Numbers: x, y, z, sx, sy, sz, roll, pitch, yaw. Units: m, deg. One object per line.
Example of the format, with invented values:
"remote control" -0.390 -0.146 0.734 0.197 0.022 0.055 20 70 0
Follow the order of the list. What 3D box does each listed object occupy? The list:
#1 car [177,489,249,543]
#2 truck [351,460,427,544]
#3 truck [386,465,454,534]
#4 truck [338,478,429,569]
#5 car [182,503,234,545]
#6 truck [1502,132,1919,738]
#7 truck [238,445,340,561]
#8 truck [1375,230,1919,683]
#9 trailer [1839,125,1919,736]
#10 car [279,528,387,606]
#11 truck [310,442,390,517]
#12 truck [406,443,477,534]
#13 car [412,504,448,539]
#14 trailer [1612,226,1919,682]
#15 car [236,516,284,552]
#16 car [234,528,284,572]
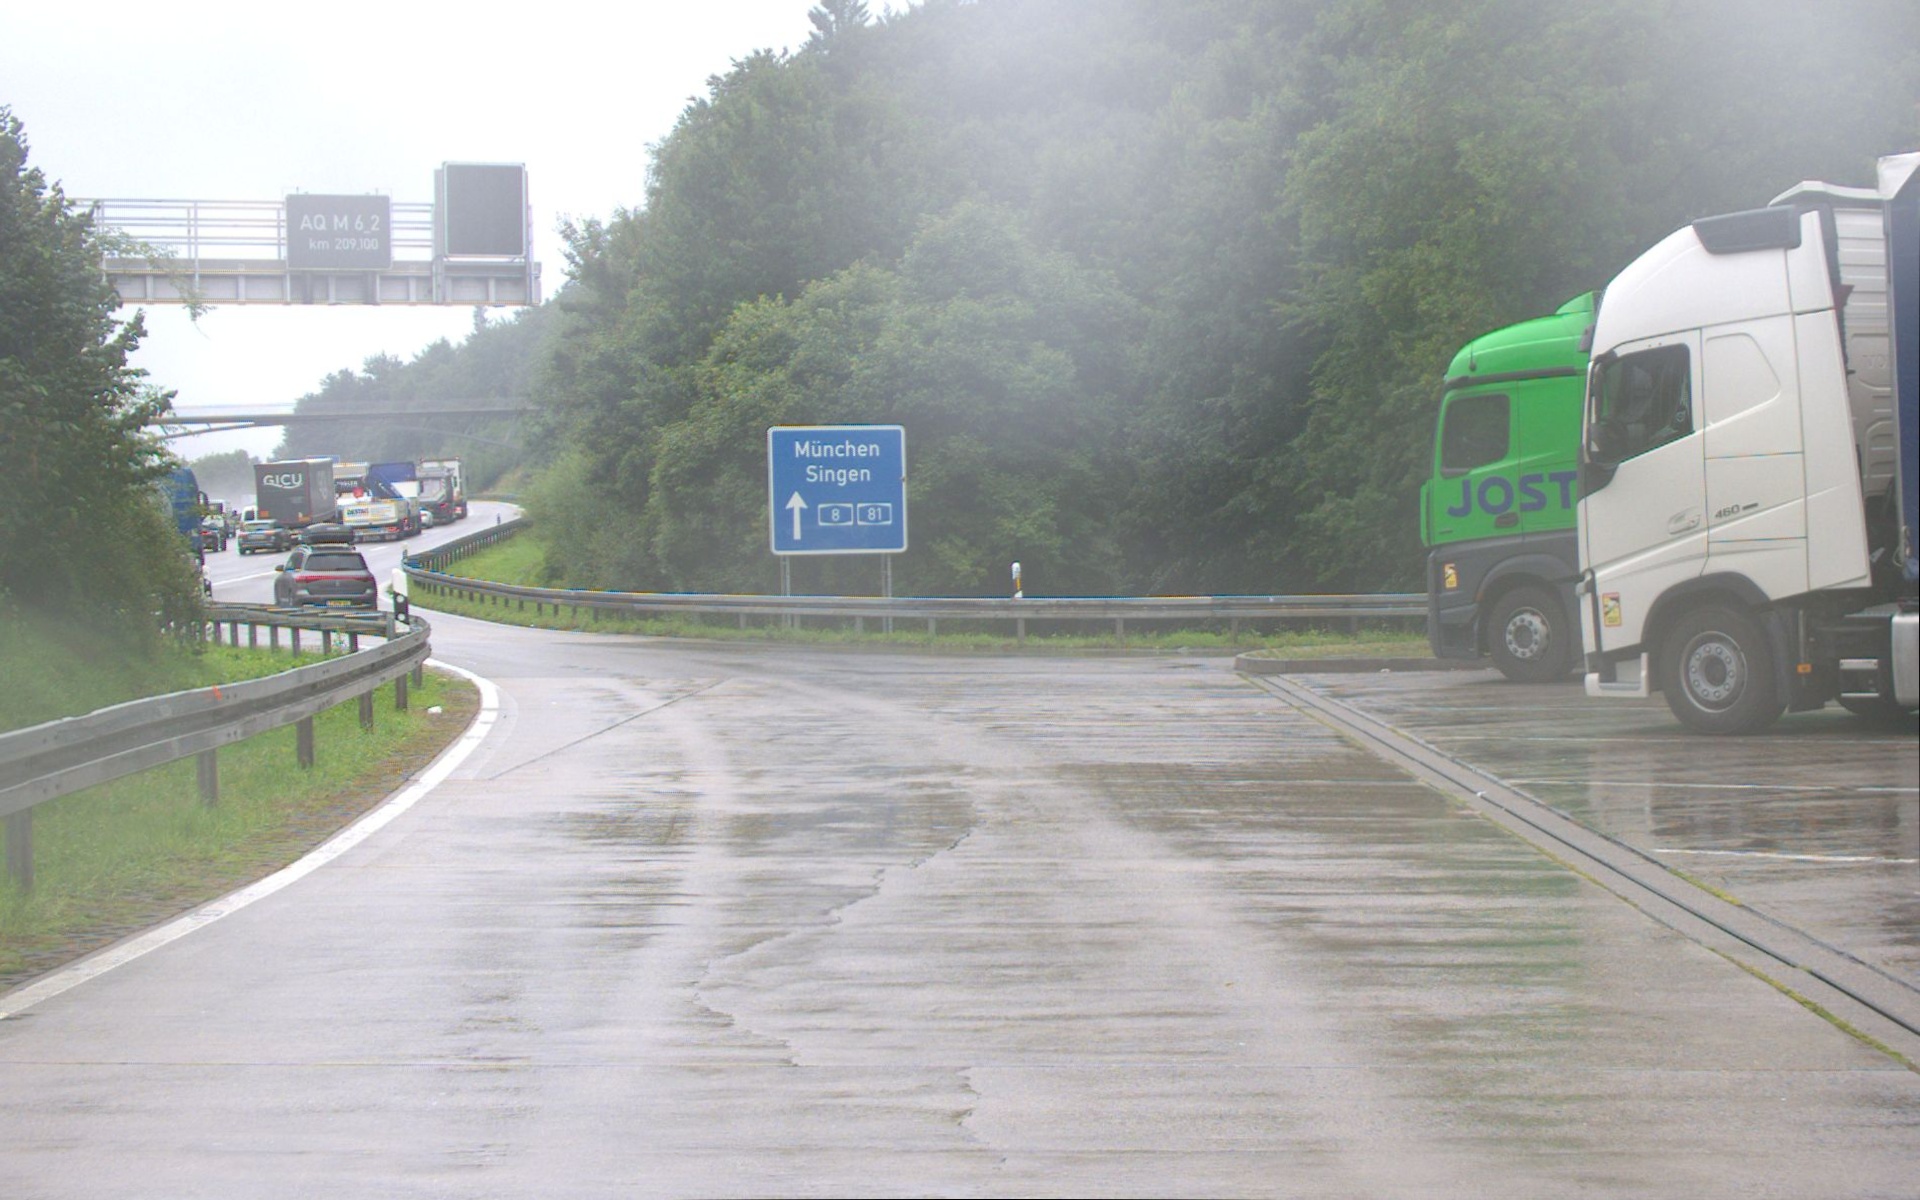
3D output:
"car" -43.755 -4.902 201.548 3.246 2.992 6.774 1 1 -5
"truck" -30.724 -5.219 185.278 3.506 4.253 10.605 1 1 -7
"truck" -32.940 -6.061 210.079 3.754 3.957 11.062 1 1 -7
"truck" -28.313 -3.848 169.274 3.599 4.090 11.563 -3 3 -6
"car" -35.223 -3.561 161.199 1.797 1.897 4.001 -2 1 -5
"truck" 7.022 -1.160 25.027 2.819 4.131 5.300 -3 1 -44
"truck" -33.130 -4.697 170.160 3.754 5.480 10.174 1 1 -5
"truck" 7.515 -1.315 34.619 5.994 4.135 2.819 -2 1 45
"trailer" 12.022 -1.334 19.773 2.819 4.157 13.986 -3 1 -44
"car" -13.667 -0.721 74.787 1.993 1.630 4.001 1 1 -15
"truck" -36.464 -7.150 205.880 3.576 4.081 10.882 -2 1 -5
"truck" -34.429 -7.355 228.560 4.335 5.744 9.733 1 0 -7
"car" -30.298 -4.462 196.601 1.797 1.897 4.001 -2 1 -6
"trailer" 12.398 -1.469 29.698 13.958 4.135 2.819 -2 1 45
"car" -37.638 -3.555 184.935 1.993 1.859 4.001 1 1 -3
"car" -31.007 -2.211 152.125 1.797 1.897 4.001 1 1 -6
